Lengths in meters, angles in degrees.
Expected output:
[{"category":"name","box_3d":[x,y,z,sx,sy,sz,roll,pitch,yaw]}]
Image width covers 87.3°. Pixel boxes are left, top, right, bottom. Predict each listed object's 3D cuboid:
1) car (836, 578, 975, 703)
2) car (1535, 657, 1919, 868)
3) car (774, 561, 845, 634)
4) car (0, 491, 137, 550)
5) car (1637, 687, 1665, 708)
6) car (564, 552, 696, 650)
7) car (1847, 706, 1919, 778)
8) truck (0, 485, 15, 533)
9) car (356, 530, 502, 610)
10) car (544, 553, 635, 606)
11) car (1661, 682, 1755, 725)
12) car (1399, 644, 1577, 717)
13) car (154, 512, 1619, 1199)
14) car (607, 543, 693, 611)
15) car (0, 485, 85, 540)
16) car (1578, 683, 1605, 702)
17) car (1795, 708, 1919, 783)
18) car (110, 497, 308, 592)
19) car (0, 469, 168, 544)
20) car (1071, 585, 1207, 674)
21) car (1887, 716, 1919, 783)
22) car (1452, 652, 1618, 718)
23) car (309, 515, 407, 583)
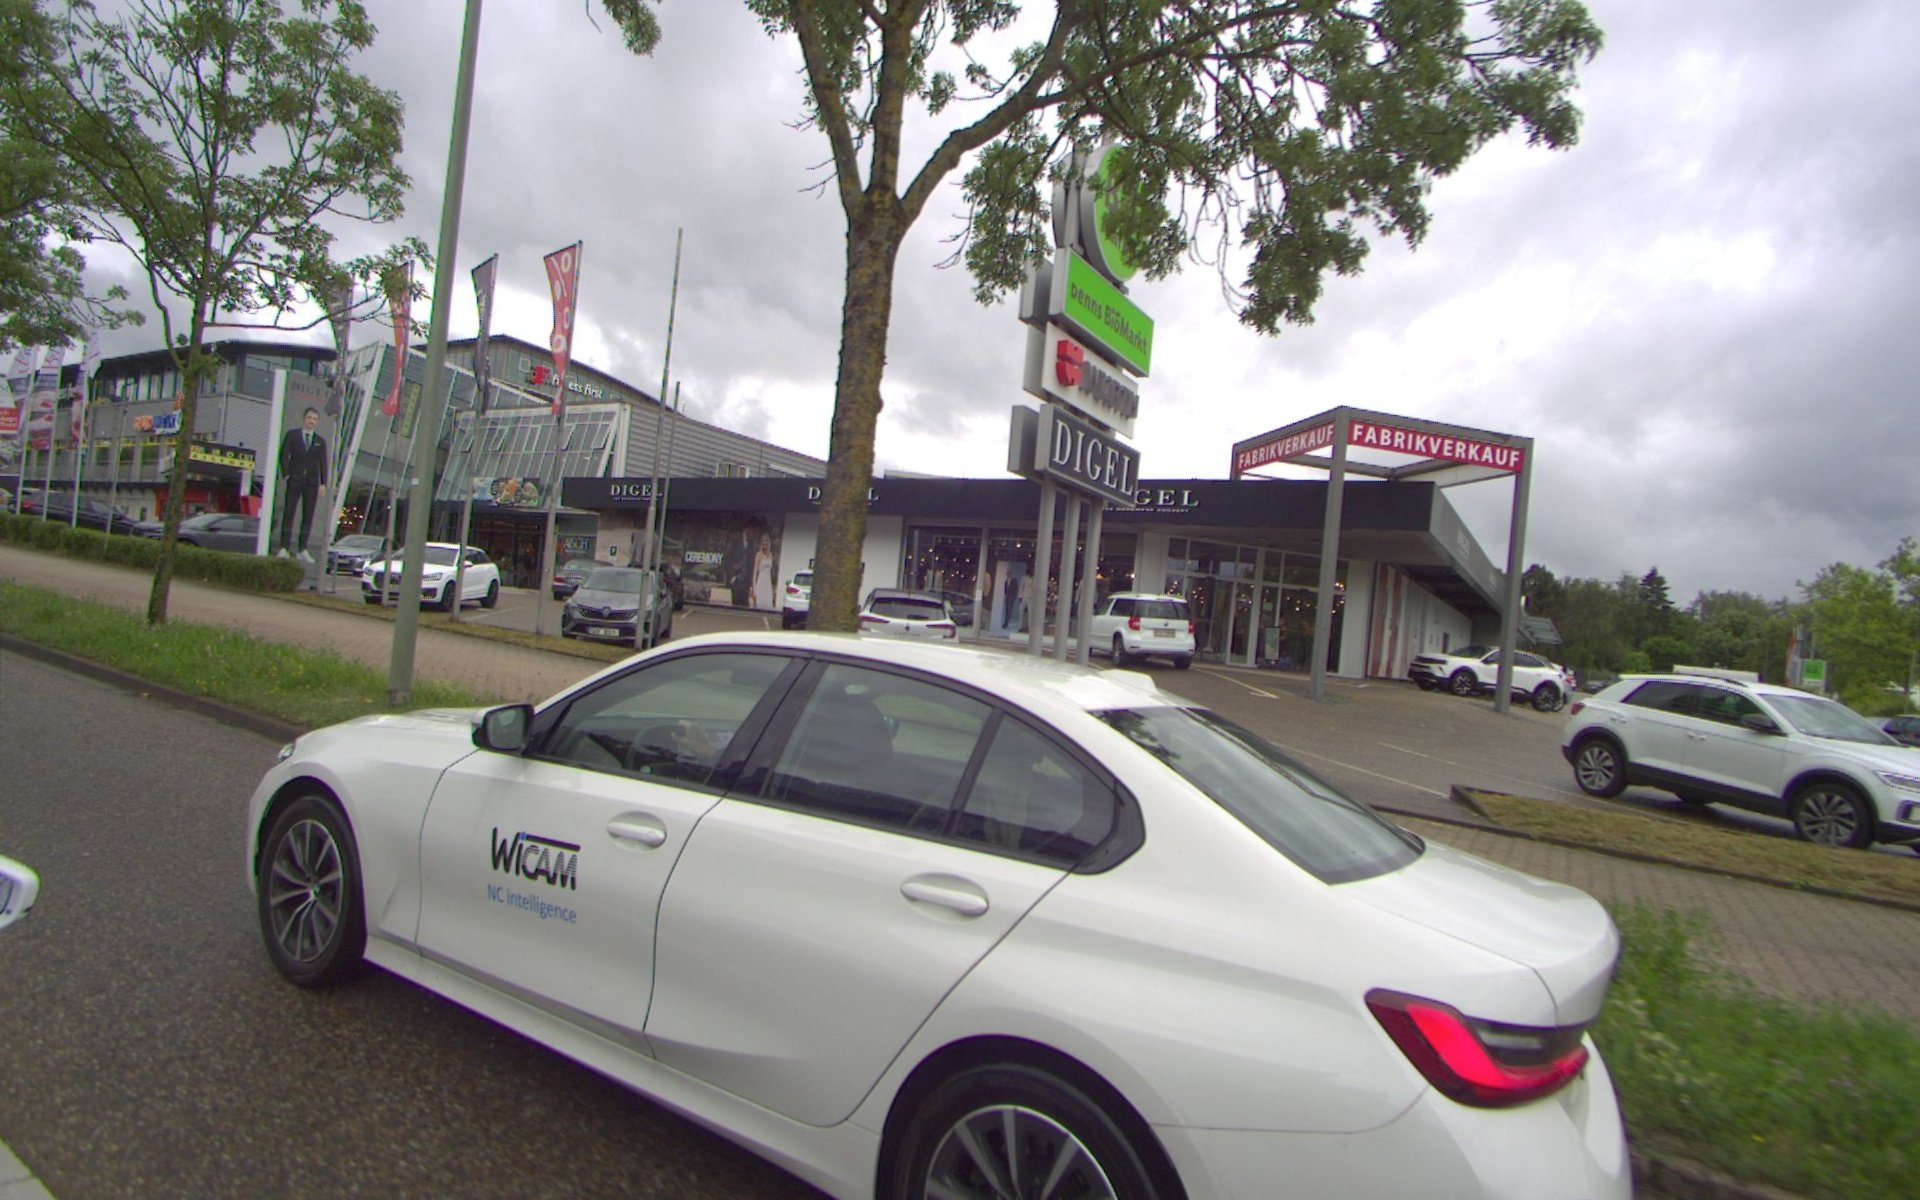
[{"category":"car","box_3d":[-1.059,0.583,17.250,1.948,1.684,4.020,6,1,-7]},{"category":"car","box_3d":[8.910,1.654,11.045,1.902,1.595,4.275,6,-1,-16]},{"category":"car","box_3d":[-4.287,-0.041,29.048,1.708,1.792,4.150,6,-1,-7]},{"category":"car","box_3d":[-33.026,-2.909,36.825,1.773,1.554,4.111,6,-2,38]},{"category":"car","box_3d":[75.123,10.576,109.313,1.971,1.866,3.984,6,-1,40]},{"category":"car","box_3d":[-6.278,0.045,19.519,1.615,1.554,3.596,6,-1,-7]},{"category":"car","box_3d":[24.257,3.611,24.288,4.154,1.596,2.000,7,-4,-8]},{"category":"truck","box_3d":[-51.864,-4.983,52.308,5.369,2.373,2.448,5,-3,31]},{"category":"car","box_3d":[-12.454,-0.661,23.866,1.765,1.555,3.595,6,0,-7]},{"category":"car","box_3d":[-12.542,-0.659,34.323,1.799,1.486,4.152,6,-1,-5]},{"category":"car","box_3d":[41.620,5.759,56.114,3.936,1.815,1.995,6,-1,34]},{"category":"car","box_3d":[14.734,2.233,28.182,4.082,1.499,1.736,7,-1,-9]},{"category":"car","box_3d":[-0.578,0.725,3.479,4.542,1.561,1.806,5,-3,30]},{"category":"car","box_3d":[-9.668,-0.659,31.702,1.708,1.792,4.150,6,-1,-7]},{"category":"car","box_3d":[-36.664,-3.517,38.737,1.773,1.723,4.111,6,-2,38]},{"category":"car","box_3d":[67.789,9.928,107.930,1.789,1.617,3.984,6,-1,40]},{"category":"car","box_3d":[27.705,4.416,29.794,4.849,1.812,1.998,7,-4,-12]},{"category":"car","box_3d":[-21.777,-1.557,29.335,1.770,2.131,4.116,6,-1,33]},{"category":"car","box_3d":[-30.537,-3.220,35.112,1.771,1.928,4.114,6,-1,33]},{"category":"car","box_3d":[4.200,0.664,24.281,1.709,1.792,4.147,6,-1,-11]},{"category":"car","box_3d":[22.618,3.444,21.479,4.082,1.394,1.983,7,-4,-8]},{"category":"car","box_3d":[17.769,2.605,31.190,4.079,1.499,1.737,7,0,-5]},{"category":"car","box_3d":[-20.640,-1.678,34.673,1.770,1.964,4.027,7,-1,-17]}]
